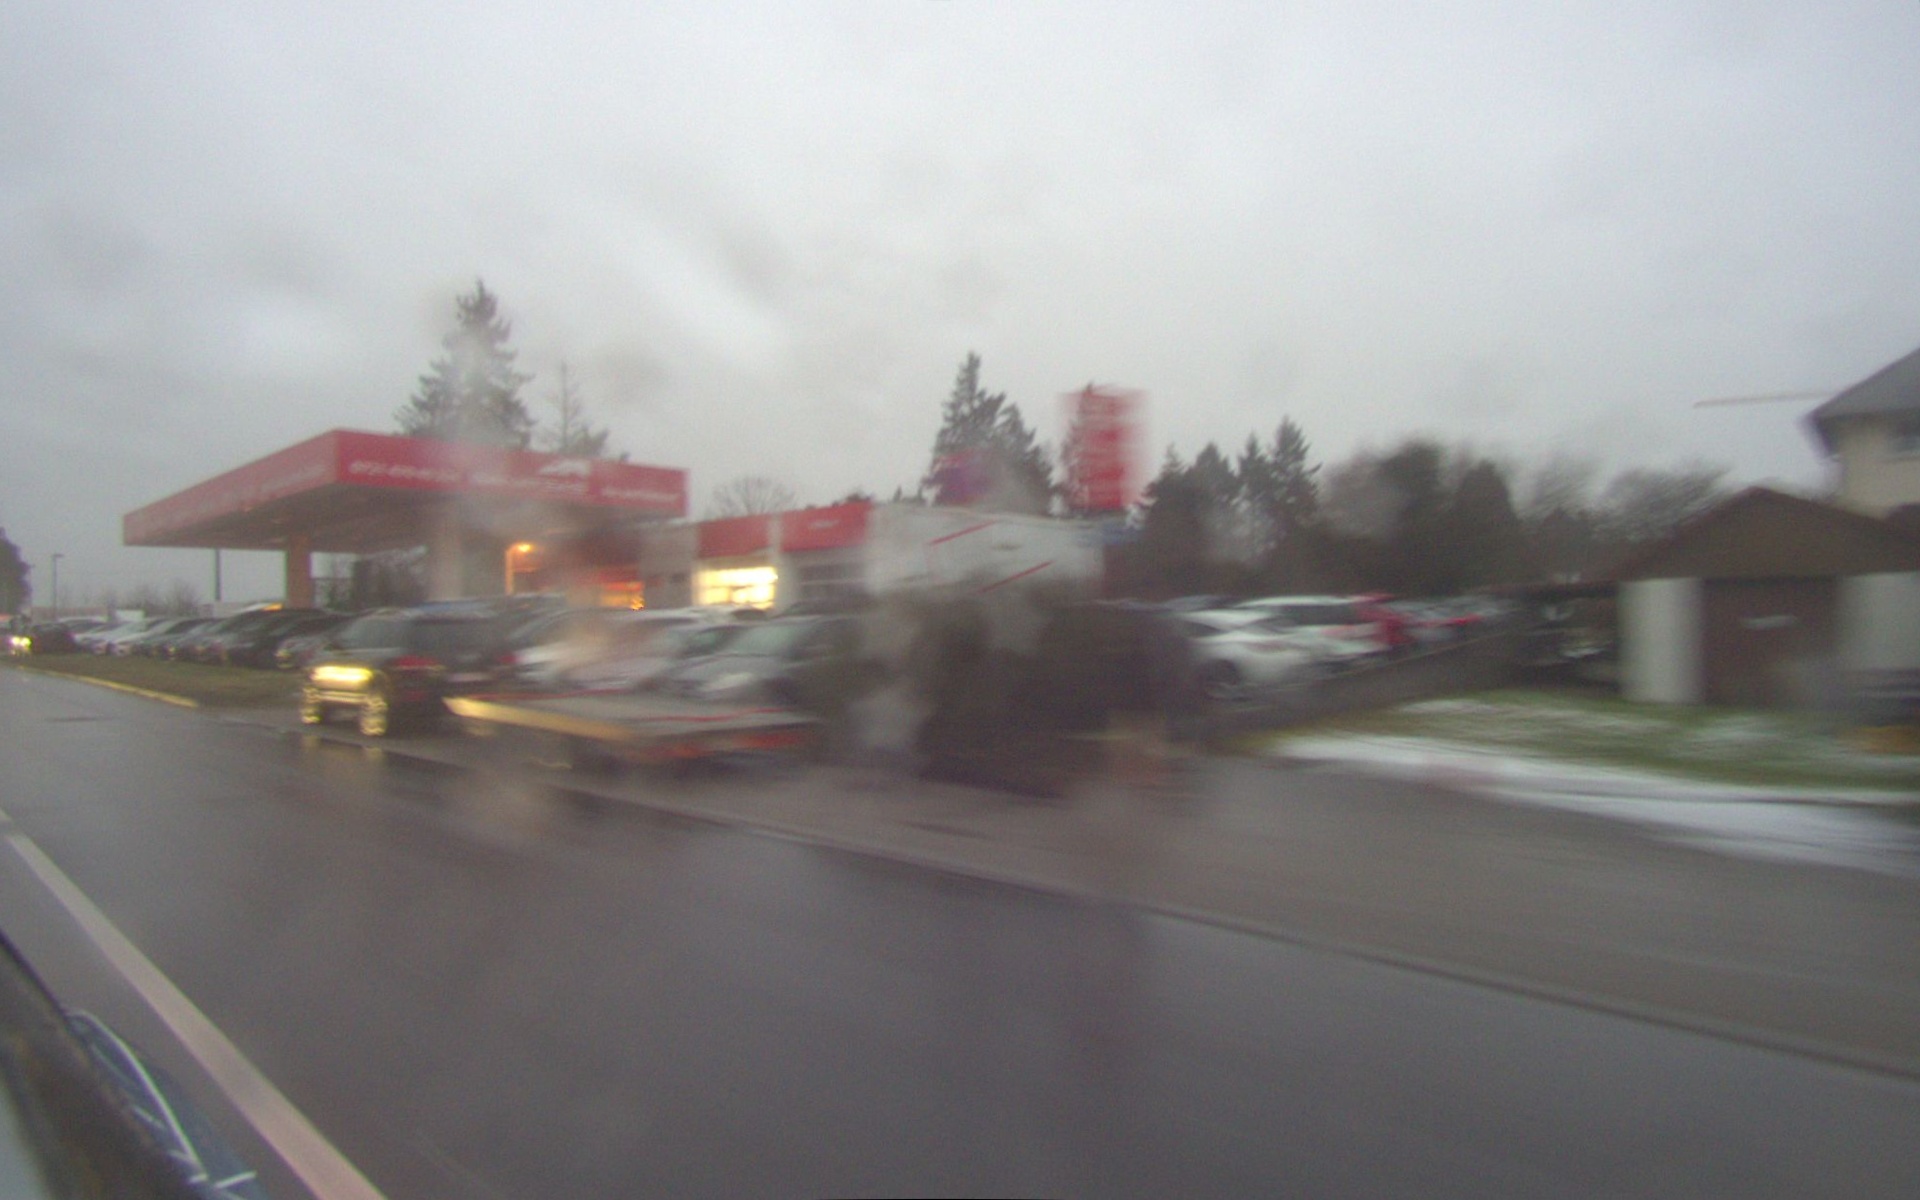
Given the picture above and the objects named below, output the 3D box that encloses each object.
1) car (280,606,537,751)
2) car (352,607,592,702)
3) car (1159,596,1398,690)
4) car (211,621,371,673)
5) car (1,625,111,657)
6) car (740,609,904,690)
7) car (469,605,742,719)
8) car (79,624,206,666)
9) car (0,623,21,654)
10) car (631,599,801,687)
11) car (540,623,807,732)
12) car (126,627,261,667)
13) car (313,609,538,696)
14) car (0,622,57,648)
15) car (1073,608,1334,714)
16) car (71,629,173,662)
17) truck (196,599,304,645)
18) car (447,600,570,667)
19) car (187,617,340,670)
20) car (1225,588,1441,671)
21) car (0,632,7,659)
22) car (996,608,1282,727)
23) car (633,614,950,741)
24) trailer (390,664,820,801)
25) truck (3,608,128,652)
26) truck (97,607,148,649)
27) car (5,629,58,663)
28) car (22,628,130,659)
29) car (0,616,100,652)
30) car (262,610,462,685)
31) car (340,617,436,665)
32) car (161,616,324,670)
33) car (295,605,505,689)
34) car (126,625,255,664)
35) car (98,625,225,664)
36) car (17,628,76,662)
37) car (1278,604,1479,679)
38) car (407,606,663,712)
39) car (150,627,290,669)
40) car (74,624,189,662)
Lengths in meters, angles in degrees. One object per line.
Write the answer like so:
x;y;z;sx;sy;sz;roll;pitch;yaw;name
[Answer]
-8.361;1.072;15.169;4.511;1.844;1.950;-2;-2;42;car
-10.662;1.111;22.341;2.136;1.675;4.232;-2;1;41;car
6.150;0.793;19.760;3.998;1.637;1.973;-1;-1;41;car
-20.767;1.417;31.498;1.839;1.452;3.819;-2;-1;40;car
-52.555;2.341;58.885;2.007;1.689;4.492;-2;-1;37;car
-3.546;1.189;25.574;3.998;1.883;1.973;-1;-1;41;car
-6.351;1.026;18.506;1.999;1.639;4.232;-2;1;41;car
-35.031;1.888;43.430;1.822;1.566;3.989;-3;-1;41;car
-83.233;3.245;85.014;2.175;2.652;6.092;-3;-3;41;car
-5.844;0.980;24.037;3.998;1.918;1.973;-1;-1;41;car
-4.533;1.147;16.403;1.719;1.439;3.852;-1;0;42;car
-28.993;1.740;38.351;1.839;1.356;3.819;-2;-1;40;car
-12.567;1.161;23.990;1.999;1.675;4.232;-2;1;41;car
-78.152;2.906;83.550;2.057;2.167;5.092;-3;-4;41;car
4.189;0.990;17.727;3.998;1.637;1.973;-1;-1;41;car
-42.549;2.289;51.444;1.774;1.470;3.735;-2;0;38;car
-72.873;2.184;104.073;2.995;4.293;8.626;-2;0;30;truck
-13.636;0.972;30.483;3.998;1.883;1.866;-1;-1;41;car
-22.741;1.389;33.135;1.839;1.571;3.819;-2;-1;40;car
8.099;0.625;22.118;3.998;1.637;1.973;-1;-1;41;car
-60.550;2.865;63.316;1.157;1.657;2.874;1;-3;-40;car
2.742;0.966;15.948;3.998;1.637;1.973;-1;-1;41;car
-2.329;1.047;15.066;1.918;1.595;4.511;-2;-2;40;car
-4.359;1.337;11.659;6.101;1.047;1.972;-2;-3;42;trailer
-66.929;2.216;75.870;2.332;3.166;6.790;-2;-2;39;truck
-72.697;2.482;87.846;5.842;3.481;2.012;-2;-4;37;truck
-44.139;2.154;48.078;3.013;1.555;1.502;-2;-3;41;car
-48.533;2.383;55.623;1.825;1.509;4.290;-2;-1;41;car
-70.239;2.606;77.830;2.193;2.659;5.972;-2;-2;39;car
-16.207;1.232;27.579;1.999;1.675;4.232;-2;1;41;car
-21.292;1.494;37.617;4.146;1.669;1.868;-2;-1;42;car
-24.652;1.432;34.863;1.979;1.669;4.236;-2;-1;40;car
-14.259;1.127;25.937;1.999;1.777;4.232;-2;1;41;car
-30.775;1.751;40.543;1.839;1.416;3.819;-2;-1;40;car
-33.083;1.816;42.004;1.943;1.420;3.819;-2;0;40;car
-41.053;2.014;45.455;3.740;1.431;1.664;-2;-2;43;car
9.845;0.942;23.953;3.998;1.637;1.973;-1;-1;41;car
-8.400;1.085;20.284;1.999;1.675;4.232;-2;1;41;car
-26.843;1.697;36.783;1.839;1.356;3.819;-2;-1;40;car
-39.214;2.005;47.957;1.941;1.662;4.003;-2;-2;43;car
